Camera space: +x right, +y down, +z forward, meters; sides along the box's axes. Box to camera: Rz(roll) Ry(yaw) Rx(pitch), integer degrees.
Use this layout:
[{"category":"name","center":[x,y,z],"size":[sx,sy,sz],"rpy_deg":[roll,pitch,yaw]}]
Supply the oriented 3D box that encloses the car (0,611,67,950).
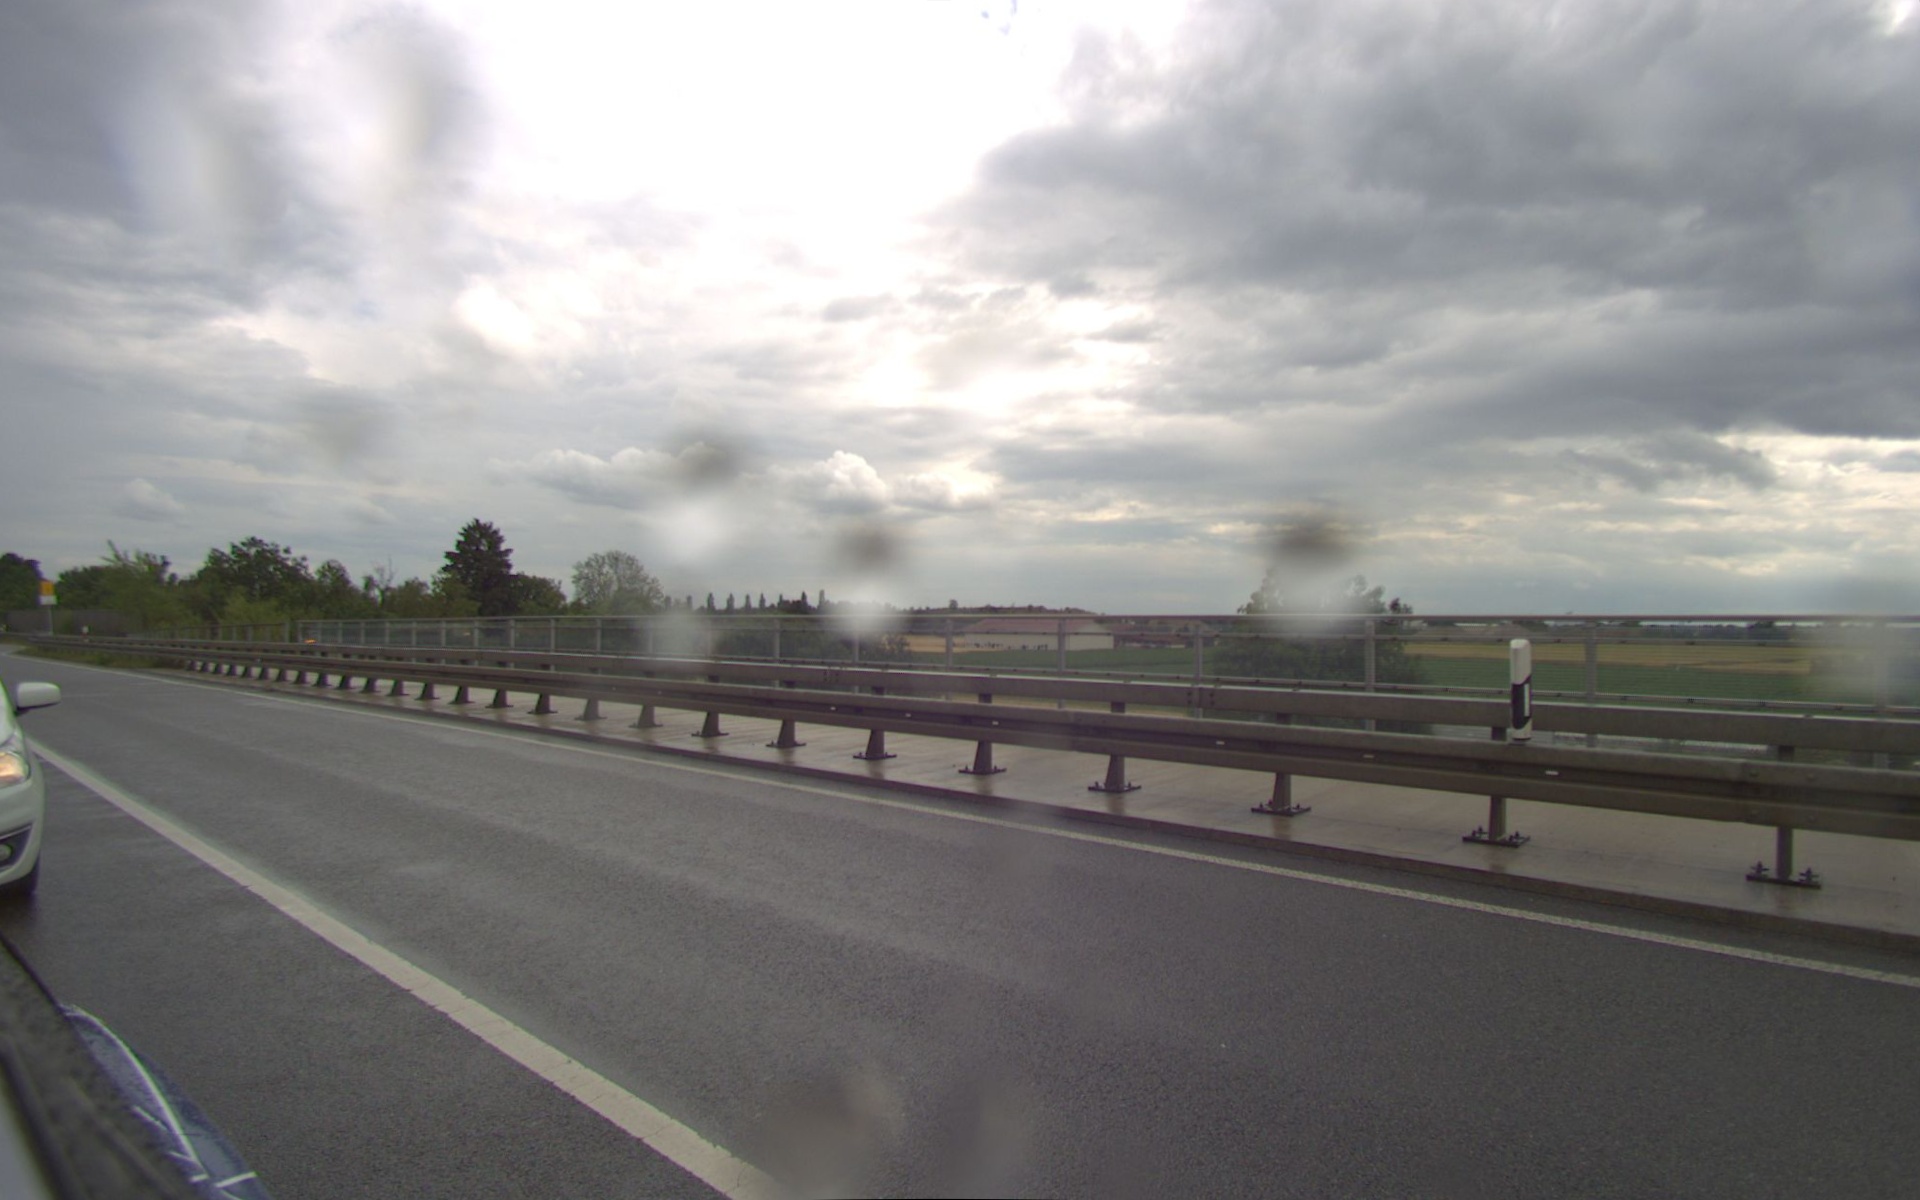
[{"category":"car","center":[-6.193,0.820,5.387],"size":[4.127,1.496,1.653],"rpy_deg":[0,0,41]}]
